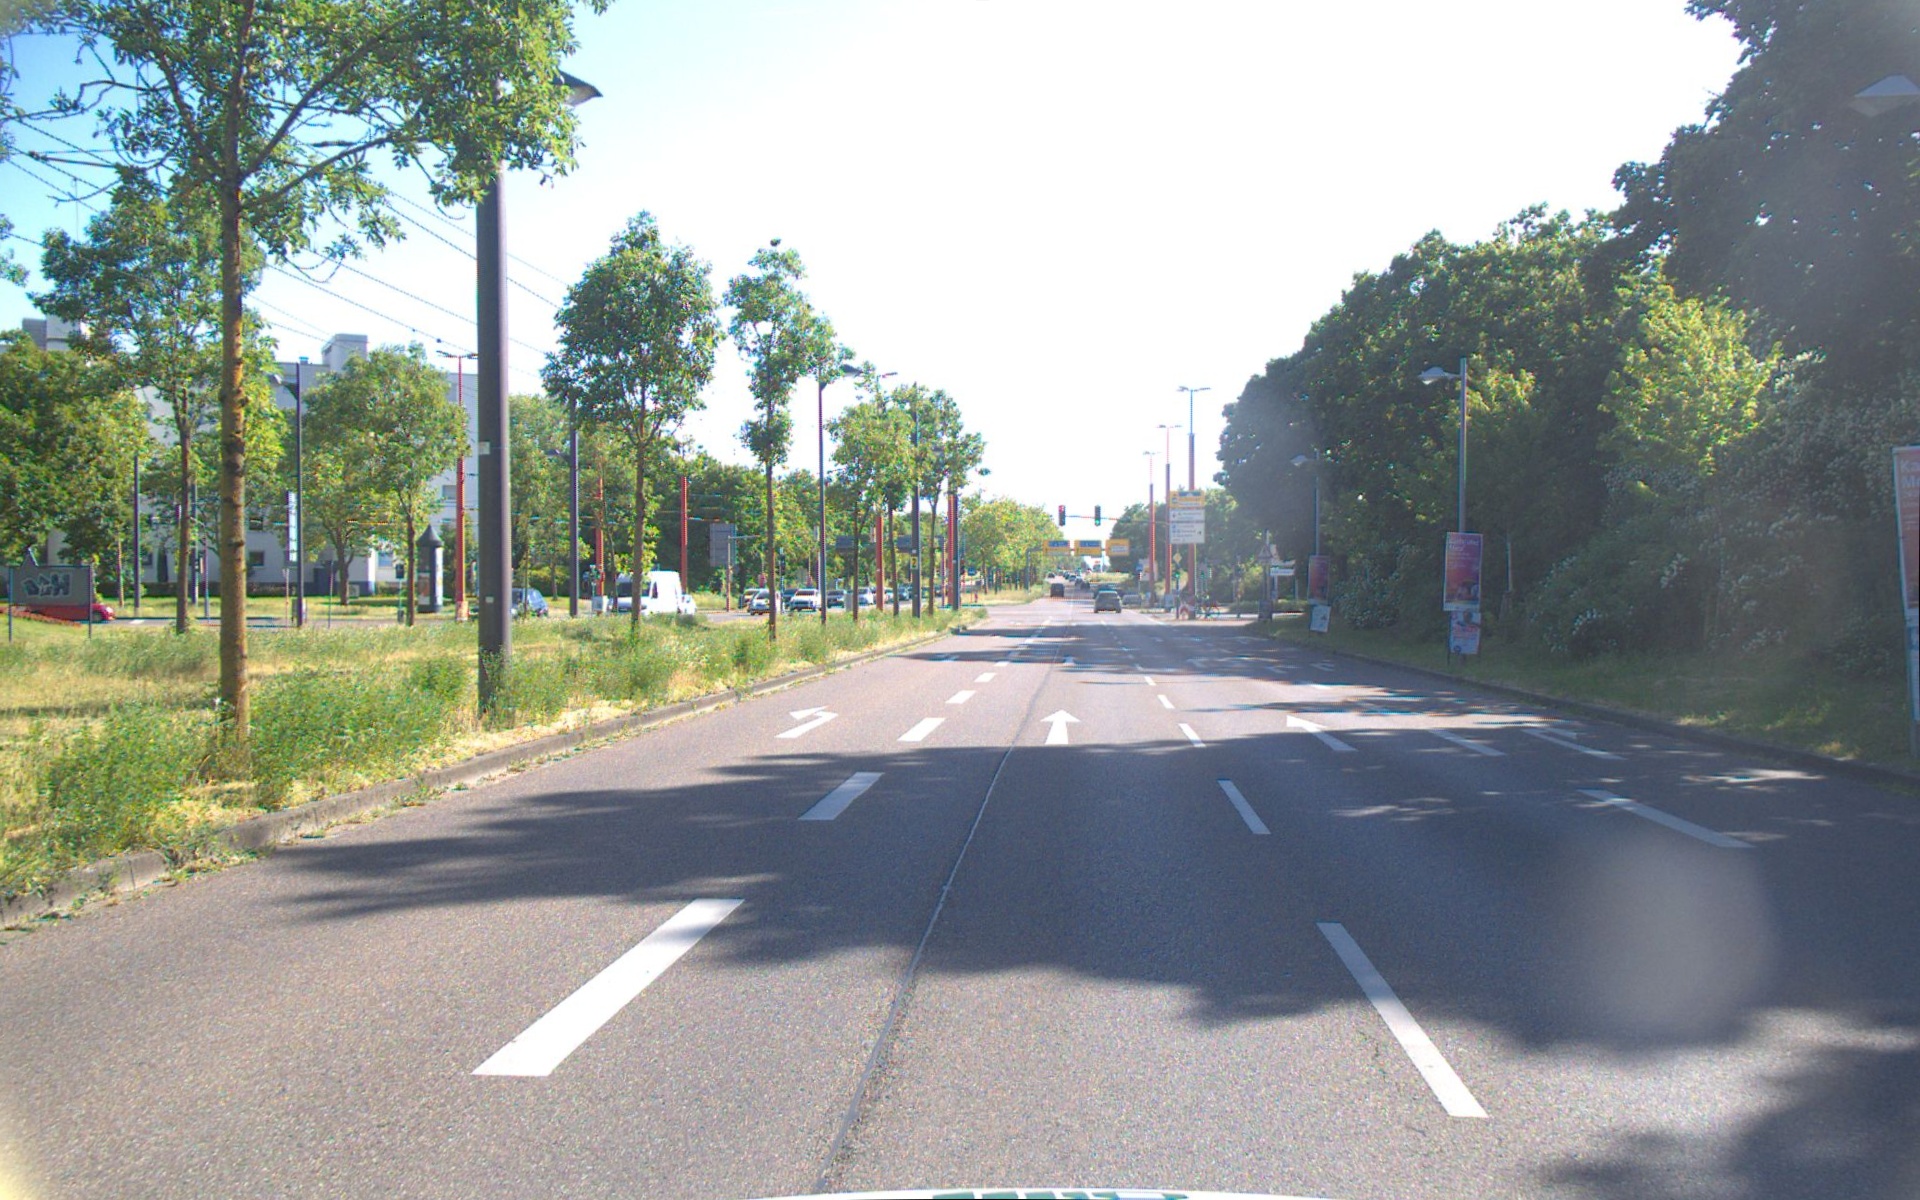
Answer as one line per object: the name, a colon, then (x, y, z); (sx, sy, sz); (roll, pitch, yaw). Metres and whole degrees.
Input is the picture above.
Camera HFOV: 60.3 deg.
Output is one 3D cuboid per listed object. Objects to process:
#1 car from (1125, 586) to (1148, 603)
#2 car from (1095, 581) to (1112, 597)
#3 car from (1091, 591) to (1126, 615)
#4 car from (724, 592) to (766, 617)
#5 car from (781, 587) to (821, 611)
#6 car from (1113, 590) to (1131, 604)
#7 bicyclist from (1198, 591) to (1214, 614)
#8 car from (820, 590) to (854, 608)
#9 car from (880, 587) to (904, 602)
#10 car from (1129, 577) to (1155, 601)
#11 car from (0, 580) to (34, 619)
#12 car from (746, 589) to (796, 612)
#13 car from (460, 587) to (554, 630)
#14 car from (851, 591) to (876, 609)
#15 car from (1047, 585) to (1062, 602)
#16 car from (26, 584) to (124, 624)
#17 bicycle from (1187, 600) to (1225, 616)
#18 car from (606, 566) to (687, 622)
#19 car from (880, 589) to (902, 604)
car: (16.567, -0.523, 155.456); (1.951, 1.567, 4.002); (1, 0, 4)
car: (17.991, -1.361, 207.589); (2.109, 2.049, 4.002); (0, 0, 4)
car: (9.993, 0.185, 111.743); (1.953, 1.523, 4.000); (1, 0, 0)
car: (-18.363, 0.346, 141.298); (1.951, 2.049, 4.410); (0, 1, 17)
car: (-11.521, -0.087, 120.100); (1.854, 1.650, 4.660); (1, 0, 7)
car: (18.753, -0.343, 191.698); (1.951, 1.567, 4.002); (0, 0, 4)
bicyclist: (14.289, 0.147, 96.007); (0.725, 1.365, 0.707); (1, 0, -6)
car: (-10.090, -0.072, 135.964); (1.951, 1.434, 4.993); (1, 0, 5)
car: (-7.349, -0.620, 178.304); (1.951, 1.622, 4.467); (-1, 0, 6)
car: (15.052, -0.948, 136.995); (1.951, 1.920, 4.002); (-1, 0, 4)
car: (-49.419, -0.049, 83.779); (4.210, 1.934, 1.983); (1, 0, -27)
car: (-12.204, 0.031, 107.033); (1.859, 1.422, 4.547); (1, 0, 11)
car: (-18.041, 0.315, 66.109); (1.952, 1.612, 5.275); (1, 0, 4)
car: (-8.746, -0.003, 149.396); (1.725, 1.636, 3.760); (-1, 0, 5)
car: (12.241, -0.836, 214.434); (1.952, 2.049, 4.002); (1, 0, 4)
car: (-43.986, 0.183, 82.337); (4.210, 1.934, 1.983); (1, 0, -27)
bicycle: (14.277, 0.491, 95.988); (2.121, 0.894, 0.559); (1, 0, -8)
car: (-14.454, -0.274, 76.660); (1.996, 2.410, 6.884); (1, 0, 4)
car: (-7.069, -0.384, 169.792); (1.668, 1.448, 4.645); (-1, 0, 4)
